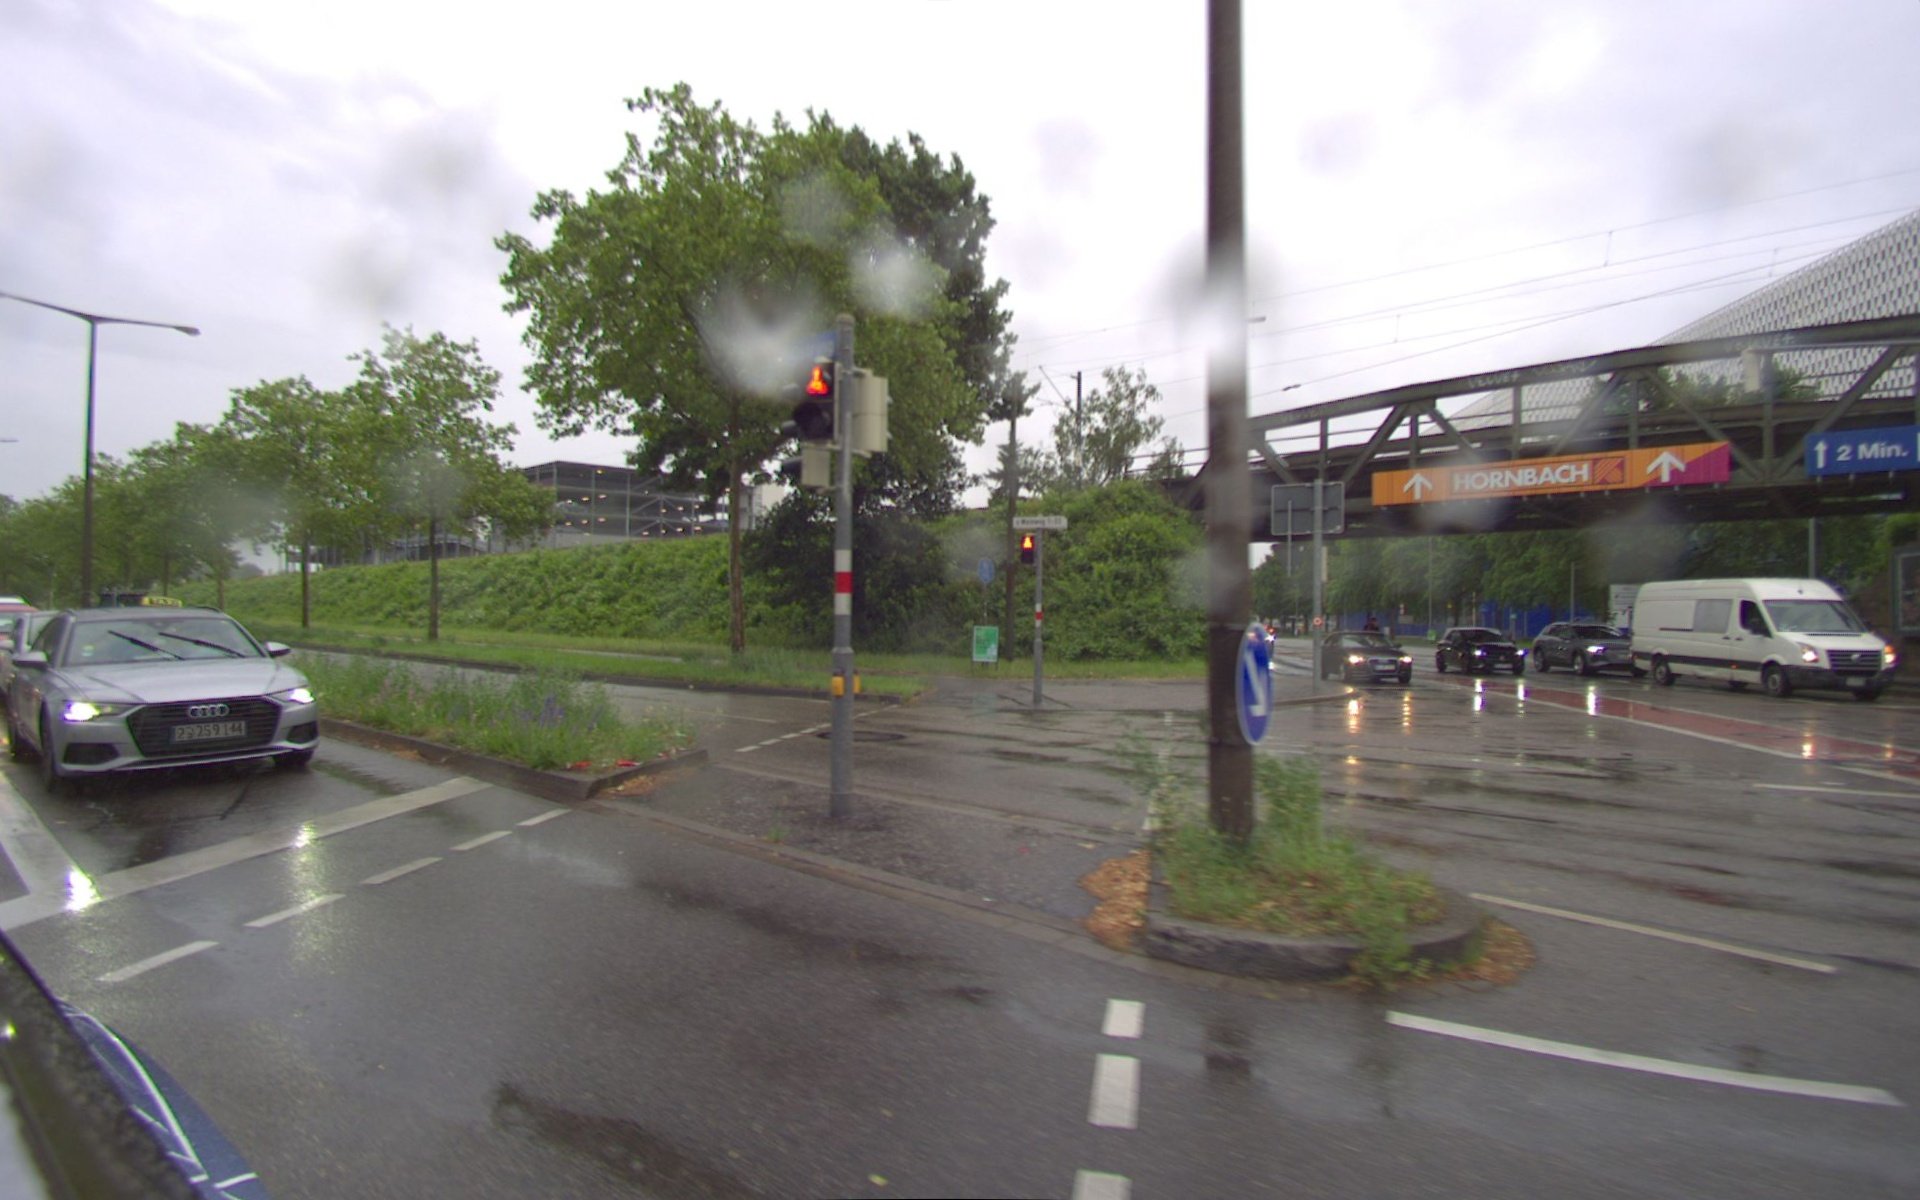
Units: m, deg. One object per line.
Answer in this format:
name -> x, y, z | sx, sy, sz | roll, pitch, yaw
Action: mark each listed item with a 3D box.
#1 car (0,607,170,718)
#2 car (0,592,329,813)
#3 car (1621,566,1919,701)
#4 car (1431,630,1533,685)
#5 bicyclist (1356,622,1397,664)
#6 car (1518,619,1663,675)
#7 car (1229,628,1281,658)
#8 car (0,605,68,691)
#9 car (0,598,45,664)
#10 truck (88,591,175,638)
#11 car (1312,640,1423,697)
car -> -13.174, 0.824, 14.917 | 4.009, 1.387, 1.661 | -1, 0, 41
car -> -7.773, 0.759, 9.604 | 4.819, 1.586, 1.751 | -1, 0, 42
car -> 18.379, 0.735, 23.346 | 2.359, 2.631, 6.962 | 1, -1, 7
car -> 16.645, 1.787, 32.454 | 1.635, 1.612, 3.901 | 1, -1, 7
bicyclist -> 15.097, 1.557, 36.717 | 1.139, 1.495, 1.055 | 1, -2, 8
car -> 19.642, 1.422, 31.829 | 1.860, 1.612, 4.943 | 1, -1, 6
car -> 14.814, 2.139, 51.075 | 1.672, 1.445, 4.141 | 0, -2, 4
car -> -18.109, 0.861, 18.946 | 4.092, 1.476, 1.701 | -1, 0, 43
car -> -25.378, 0.797, 26.395 | 4.146, 1.624, 1.808 | -1, 0, 42
truck -> -44.540, 0.792, 54.346 | 6.864, 2.383, 2.448 | 0, -2, 41
car -> 11.288, 1.855, 28.349 | 1.672, 1.445, 4.141 | 0, -2, 4
